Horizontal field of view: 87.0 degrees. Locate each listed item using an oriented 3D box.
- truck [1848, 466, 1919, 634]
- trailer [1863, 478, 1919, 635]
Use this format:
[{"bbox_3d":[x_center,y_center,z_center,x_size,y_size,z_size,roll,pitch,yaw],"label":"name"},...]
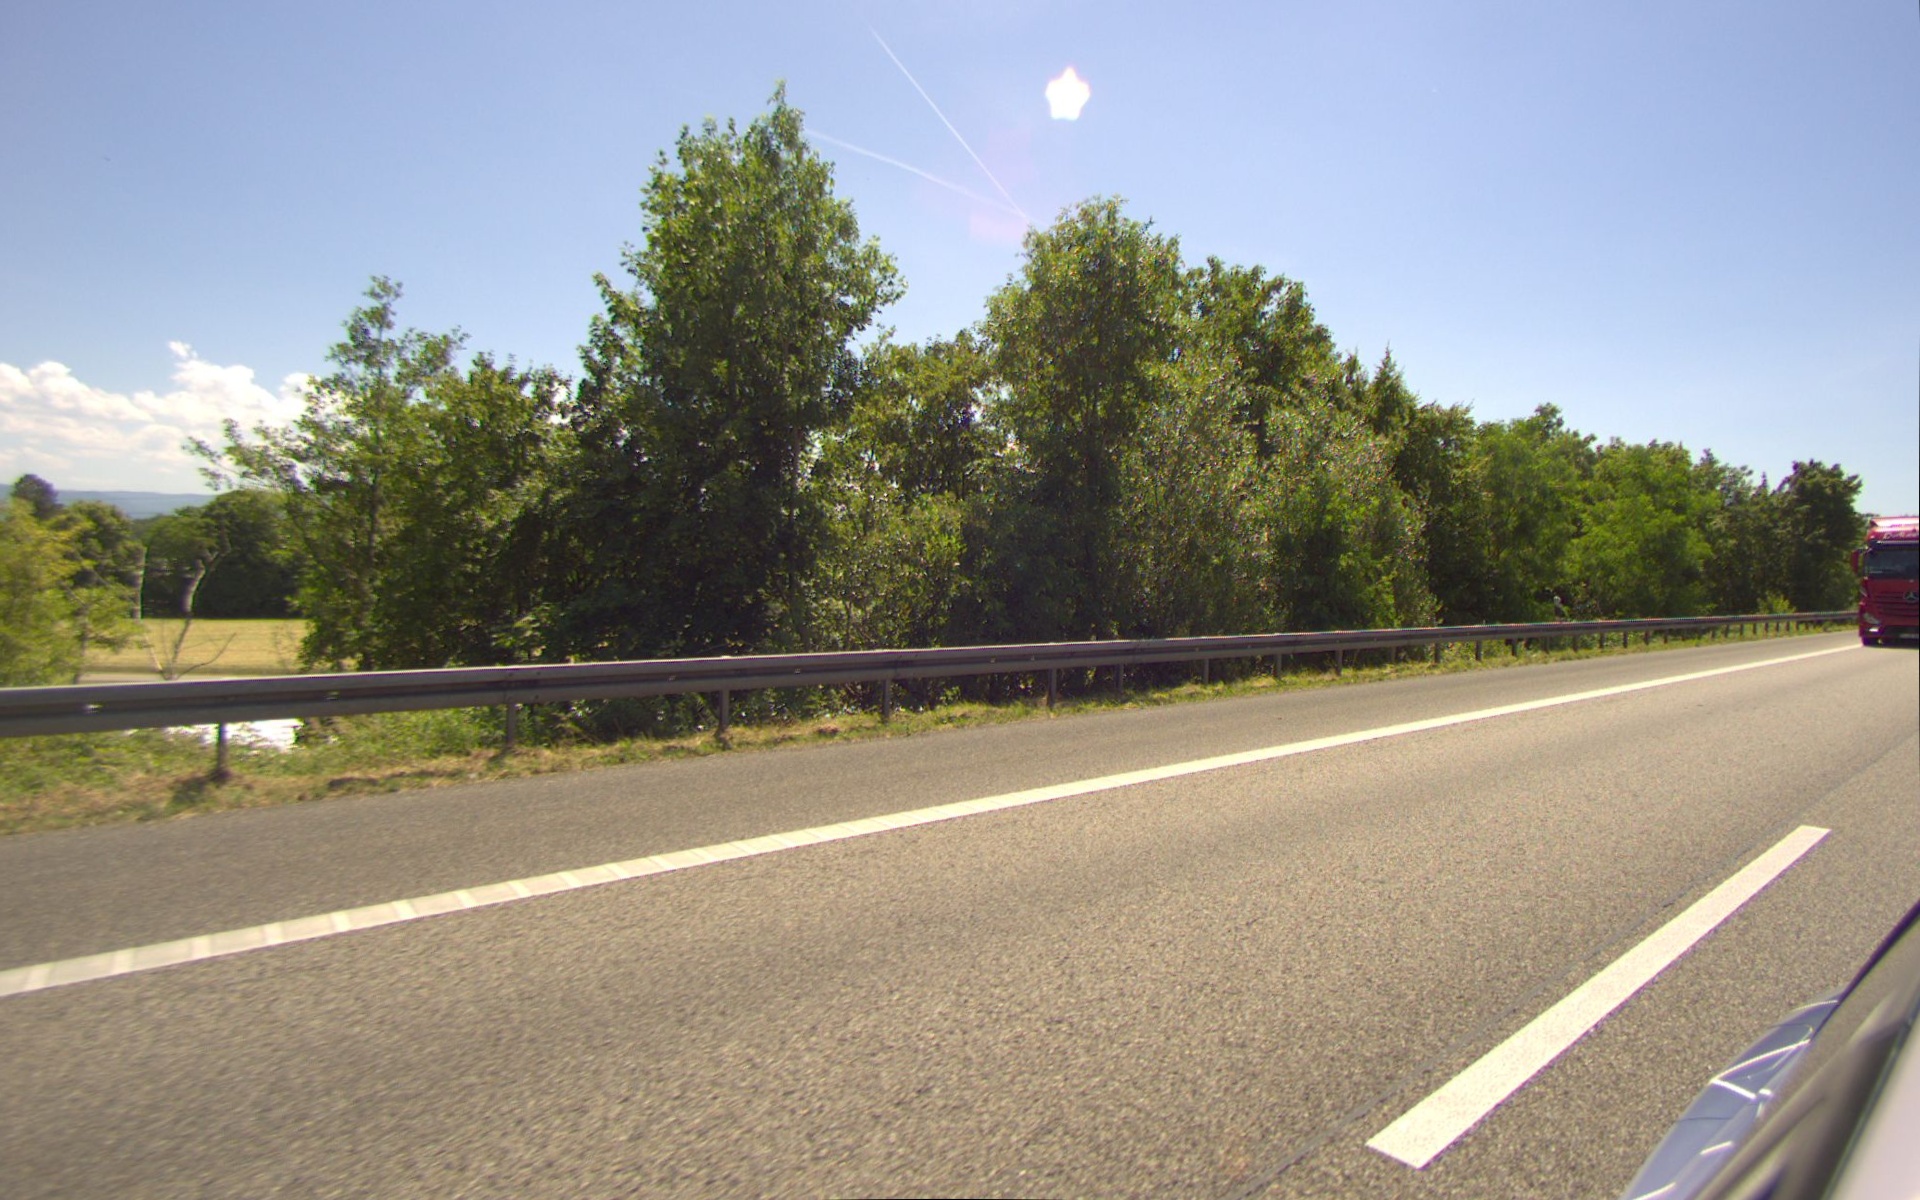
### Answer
[{"bbox_3d":[30.791,-1.430,31.860,6.847,4.951,3.241,1,0,-40],"label":"truck"},{"bbox_3d":[35.367,-1.294,35.745,13.779,4.899,3.276,1,0,-40],"label":"trailer"}]
